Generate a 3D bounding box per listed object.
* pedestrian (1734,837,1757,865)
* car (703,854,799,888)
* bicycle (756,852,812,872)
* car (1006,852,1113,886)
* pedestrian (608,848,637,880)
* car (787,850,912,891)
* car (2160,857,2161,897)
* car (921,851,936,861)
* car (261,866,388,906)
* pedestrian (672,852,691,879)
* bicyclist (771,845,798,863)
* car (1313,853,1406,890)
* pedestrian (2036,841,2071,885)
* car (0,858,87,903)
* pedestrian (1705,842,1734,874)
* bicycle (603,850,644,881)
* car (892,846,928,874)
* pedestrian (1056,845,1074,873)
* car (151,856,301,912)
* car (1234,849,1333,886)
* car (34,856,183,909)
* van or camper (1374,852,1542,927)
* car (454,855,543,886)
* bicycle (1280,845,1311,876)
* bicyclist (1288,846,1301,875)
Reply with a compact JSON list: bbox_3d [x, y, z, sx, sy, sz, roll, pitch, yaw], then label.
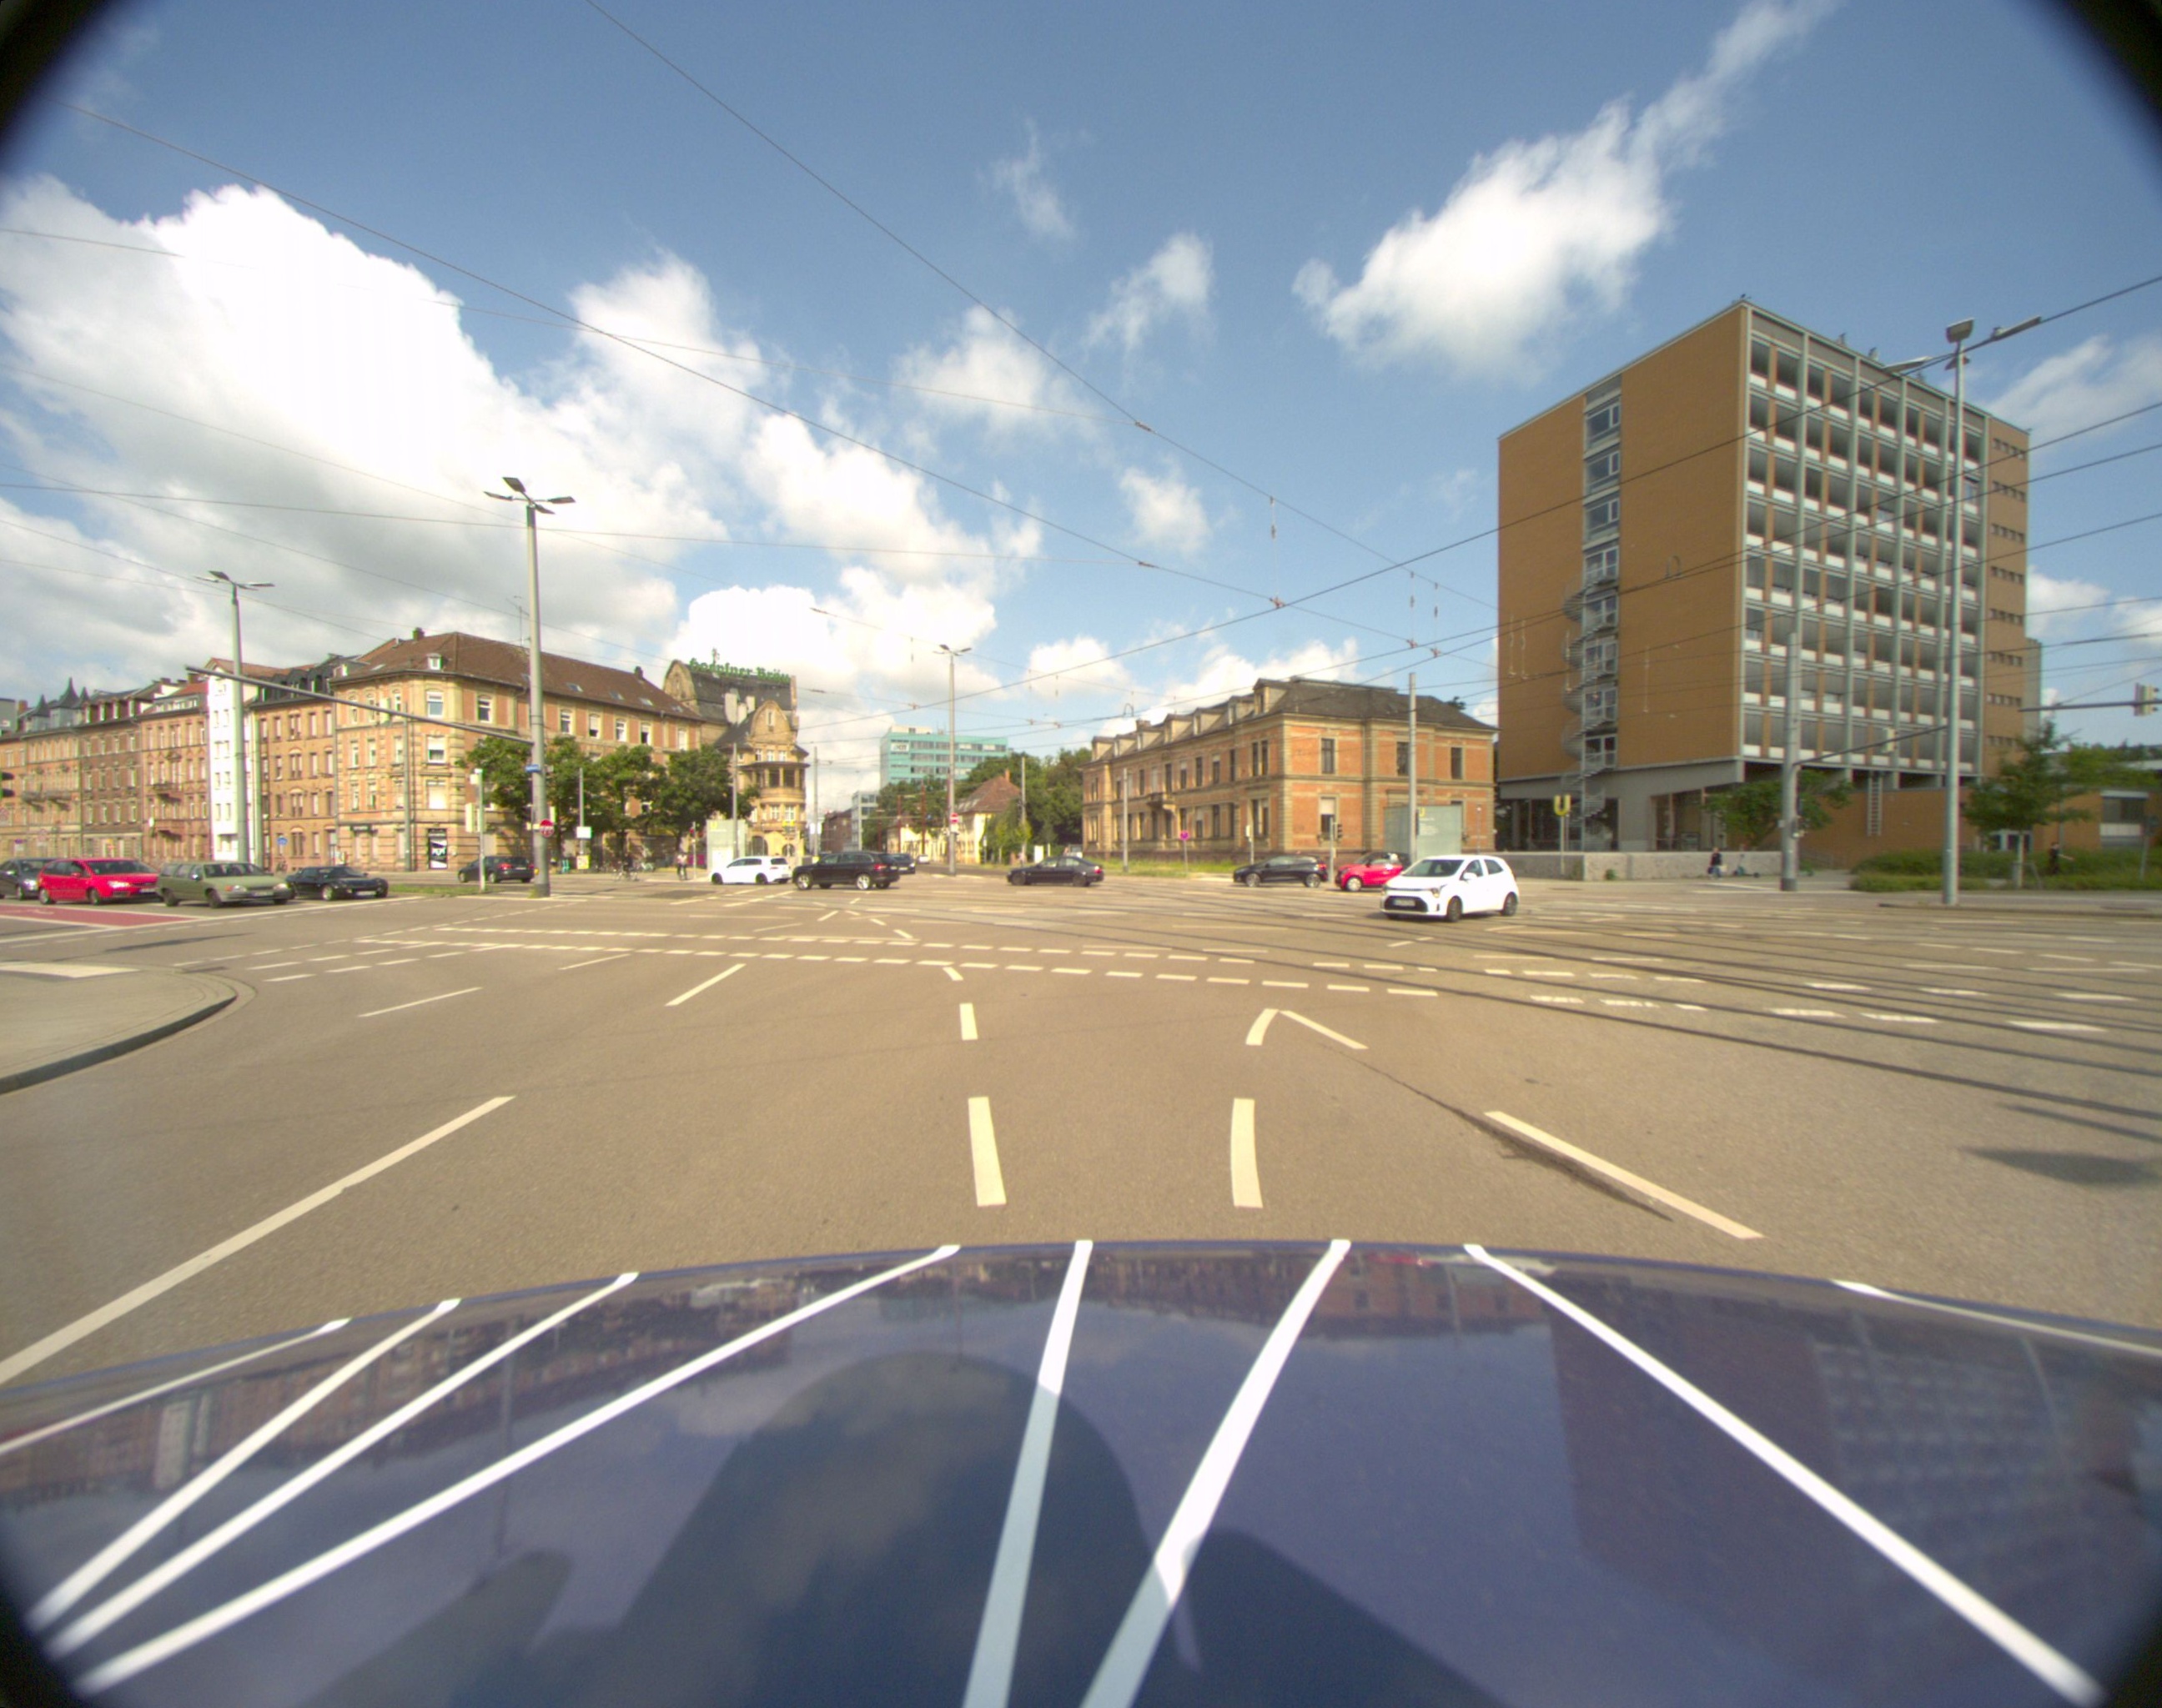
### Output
[{"bbox_3d":[38.336,-0.157,43.870,0.936,1.579,0.766,0,1,37],"label":"pedestrian"},{"bbox_3d":[-16.550,0.835,38.166,4.224,1.438,1.686,-3,1,16],"label":"car"},{"bbox_3d":[-18.870,0.528,48.323,3.105,1.022,0.996,-4,2,7],"label":"bicycle"},{"bbox_3d":[-0.923,0.667,34.396,4.502,1.390,2.001,0,2,9],"label":"car"},{"bbox_3d":[-26.992,0.588,44.711,0.993,1.831,0.997,0,4,33],"label":"pedestrian"},{"bbox_3d":[-9.840,0.683,32.447,4.676,1.659,2.001,0,1,11],"label":"car"},{"bbox_3d":[36.228,0.687,22.839,4.540,1.274,1.999,-2,3,2],"label":"car"},{"bbox_3d":[-24.557,0.332,122.099,1.758,1.521,3.992,-2,2,-20],"label":"car"},{"bbox_3d":[-25.962,1.079,26.086,3.990,1.155,1.628,-1,4,23],"label":"car"},{"bbox_3d":[-23.785,0.677,45.254,0.708,1.633,0.796,0,1,1],"label":"pedestrian"},{"bbox_3d":[-18.846,0.018,48.292,1.213,1.022,0.993,-4,2,7],"label":"bicyclist"},{"bbox_3d":[10.530,0.660,28.924,3.006,1.207,1.610,-3,2,7],"label":"car"},{"bbox_3d":[46.563,0.426,36.379,0.805,2.004,0.725,3,10,42],"label":"pedestrian"},{"bbox_3d":[-39.522,0.934,28.446,3.990,1.543,2.003,0,1,26],"label":"car"},{"bbox_3d":[32.313,0.203,38.458,0.765,1.579,0.772,0,1,-5],"label":"pedestrian"},{"bbox_3d":[-26.902,0.679,44.672,2.462,1.716,1.010,0,4,33],"label":"bicycle"},{"bbox_3d":[-12.457,0.366,55.165,2.001,1.730,4.332,-3,3,-20],"label":"car"},{"bbox_3d":[-1.005,0.285,47.180,0.785,1.727,0.857,-1,1,-30],"label":"pedestrian"},{"bbox_3d":[-26.752,0.915,23.779,3.990,1.505,1.828,-1,4,23],"label":"car"},{"bbox_3d":[8.656,0.565,32.753,3.993,1.446,1.715,-2,2,13],"label":"car"},{"bbox_3d":[-32.514,0.923,25.420,3.990,1.511,2.002,-1,4,23],"label":"car"},{"bbox_3d":[8.798,0.759,17.648,4.006,1.467,1.624,-2,0,-32],"label":"van or camper"},{"bbox_3d":[-30.886,0.851,40.289,4.245,1.520,1.775,-1,3,23],"label":"car"},{"bbox_3d":[12.308,0.376,43.524,1.633,1.767,0.733,0,1,22],"label":"bicycle"},{"bbox_3d":[12.250,0.376,43.585,0.654,1.662,0.574,-1,4,21],"label":"bicyclist"}]
